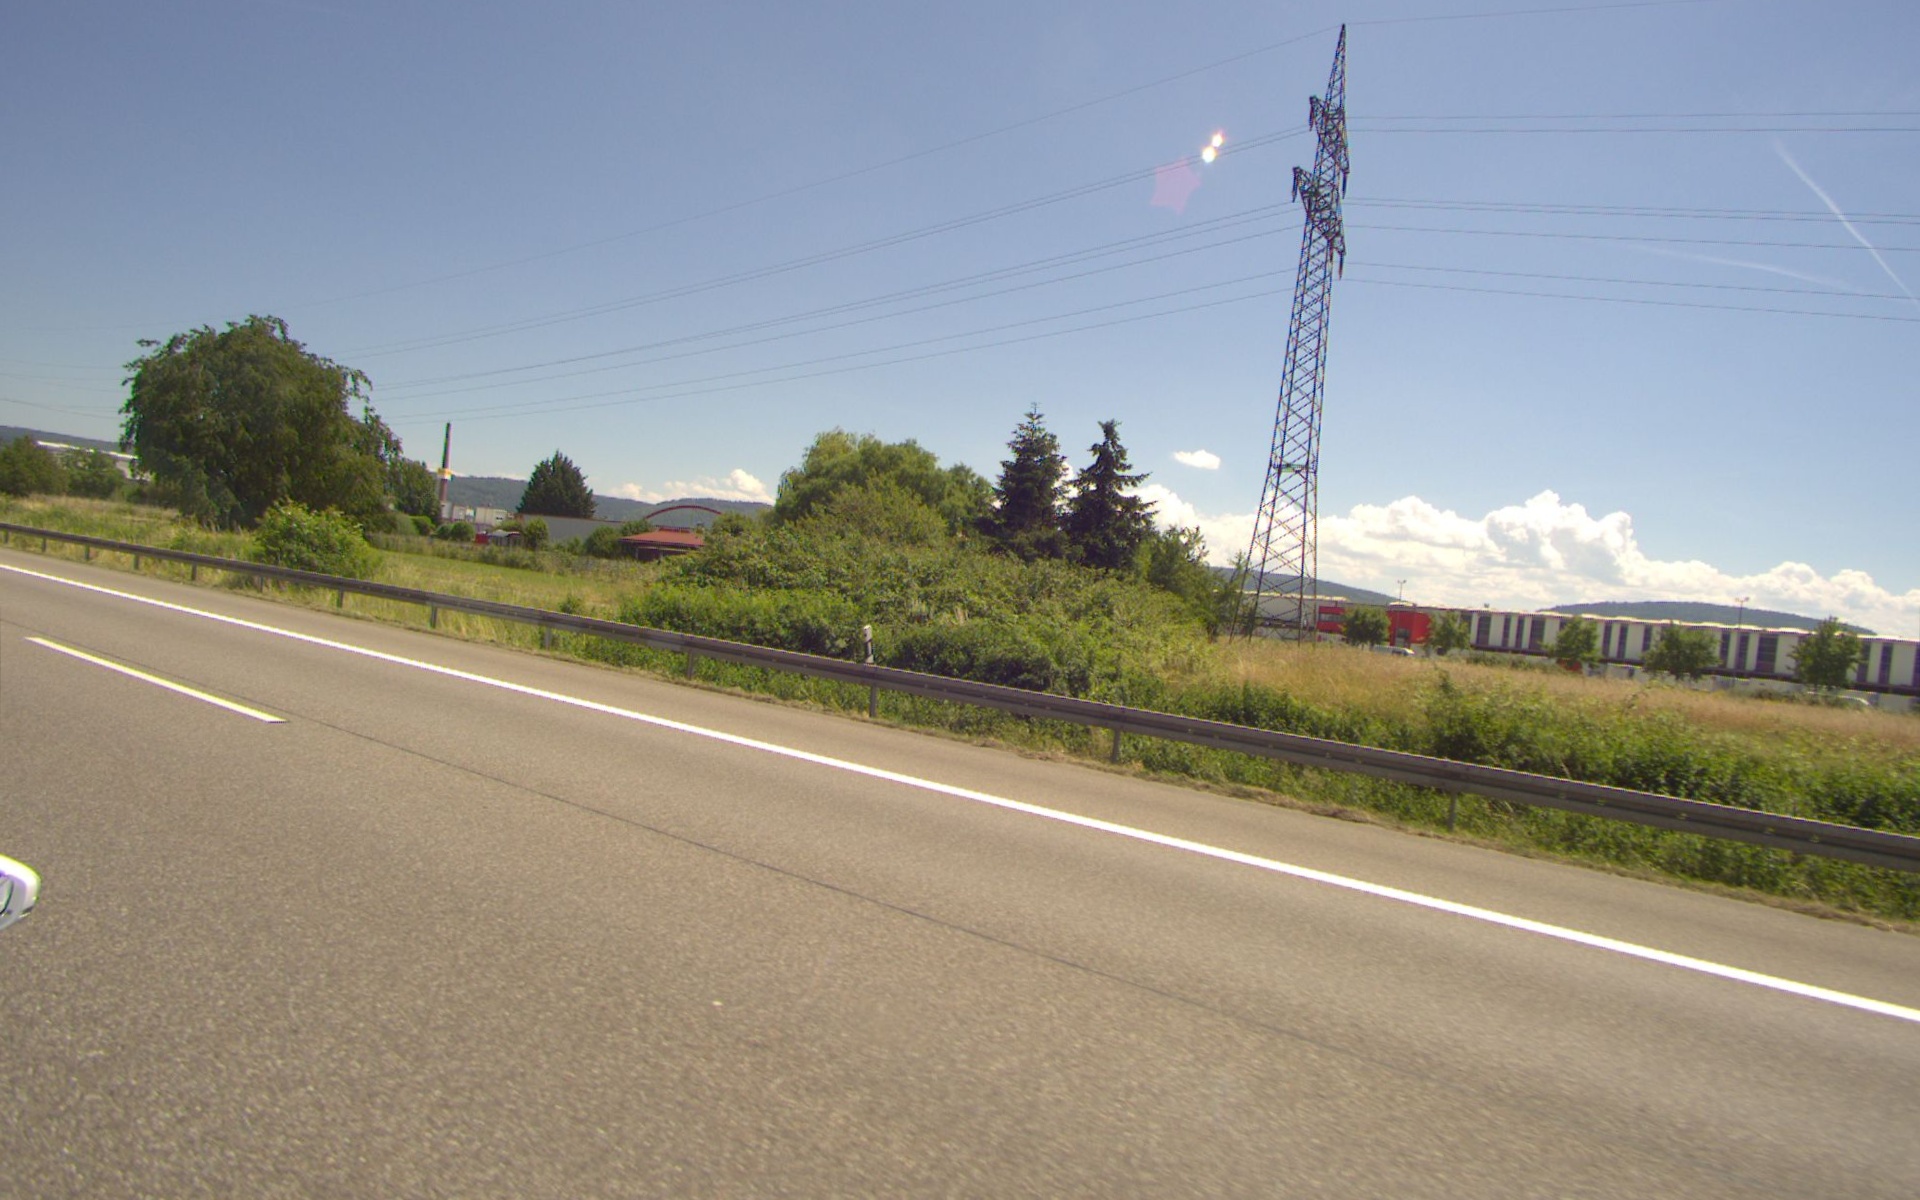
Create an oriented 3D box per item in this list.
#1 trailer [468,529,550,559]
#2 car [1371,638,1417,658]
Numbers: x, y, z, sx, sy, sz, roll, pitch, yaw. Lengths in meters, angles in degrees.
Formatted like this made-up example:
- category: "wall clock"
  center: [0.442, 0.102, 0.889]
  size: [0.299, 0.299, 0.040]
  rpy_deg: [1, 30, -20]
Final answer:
- category: "trailer"
  center: [-50.598, -6.238, 113.030]
  size: [2.932, 2.412, 7.909]
  rpy_deg: [7, 1, 33]
- category: "car"
  center: [57.847, 6.353, 134.219]
  size: [1.985, 2.036, 5.211]
  rpy_deg: [9, -2, -38]
